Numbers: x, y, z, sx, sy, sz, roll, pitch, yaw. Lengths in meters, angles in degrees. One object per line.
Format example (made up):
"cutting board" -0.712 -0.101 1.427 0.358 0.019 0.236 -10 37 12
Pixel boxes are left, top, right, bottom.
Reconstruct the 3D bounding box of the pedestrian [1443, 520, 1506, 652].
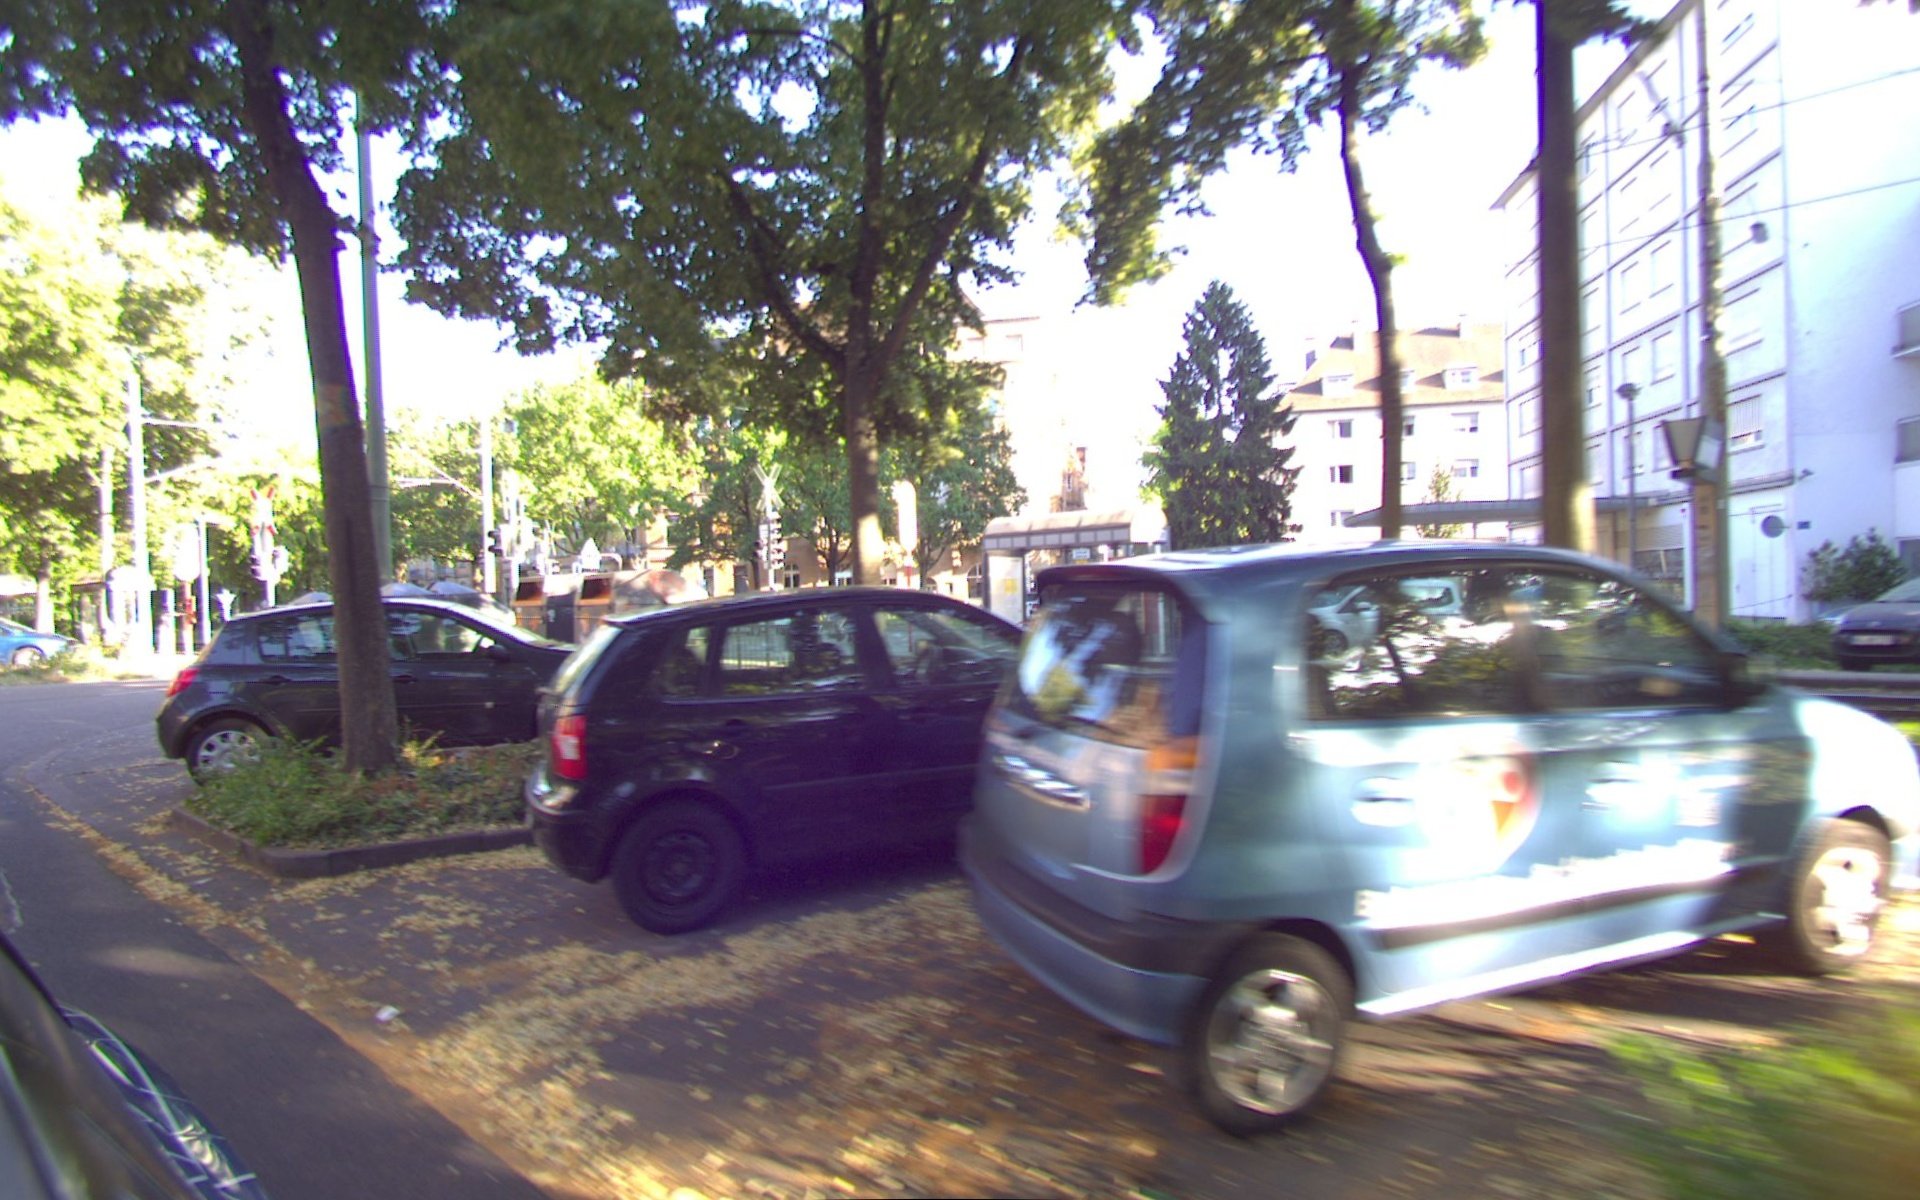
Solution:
"pedestrian" 8.065 -0.220 15.886 0.528 2.029 0.645 -1 0 -16

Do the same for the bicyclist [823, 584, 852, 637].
"bicyclist" -3.795 0.319 31.410 0.551 1.602 0.672 -1 0 37

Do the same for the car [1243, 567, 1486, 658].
"car" 7.805 0.261 19.614 4.080 1.634 1.893 1 -1 -17

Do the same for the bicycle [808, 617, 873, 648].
"bicycle" -3.703 0.993 31.513 0.641 0.864 2.239 -2 0 36

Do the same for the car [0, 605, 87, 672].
"car" -26.499 1.139 27.079 4.367 1.634 1.640 -4 3 -26

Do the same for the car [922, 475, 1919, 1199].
"car" 1.722 0.477 3.562 3.296 1.579 1.577 -4 1 -19

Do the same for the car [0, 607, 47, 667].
"car" -29.010 1.189 28.746 4.171 1.634 1.640 -4 3 -26

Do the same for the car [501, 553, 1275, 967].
"car" -0.367 0.584 5.403 3.632 1.458 1.640 -4 3 -21

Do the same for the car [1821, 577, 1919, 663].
"car" 19.585 0.347 19.758 1.830 1.590 4.031 -5 1 -44

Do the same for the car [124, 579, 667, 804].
"car" -4.724 0.658 9.041 3.831 1.458 1.640 -4 3 -21

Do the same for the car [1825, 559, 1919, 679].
"car" 14.056 0.269 13.720 3.932 1.530 1.592 1 -1 -15
